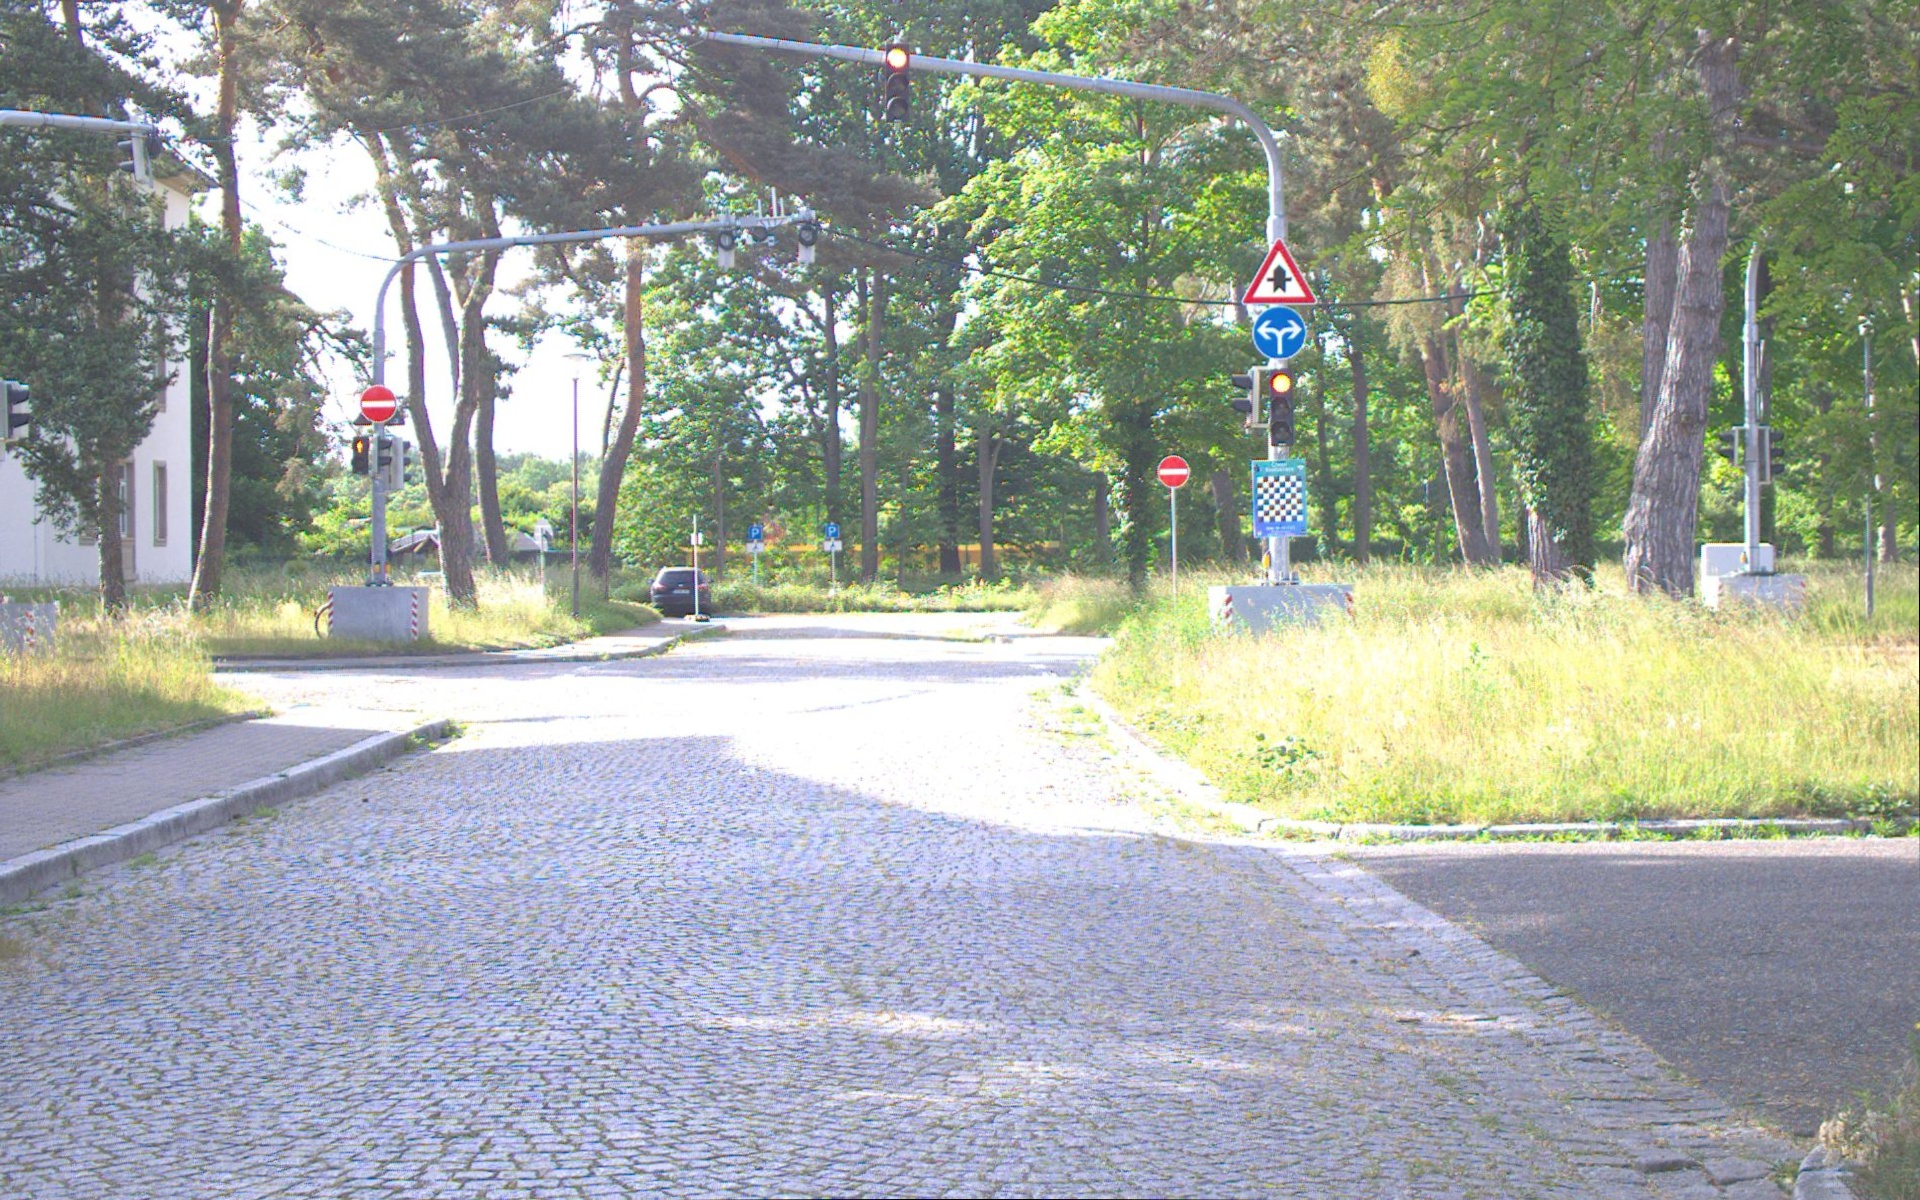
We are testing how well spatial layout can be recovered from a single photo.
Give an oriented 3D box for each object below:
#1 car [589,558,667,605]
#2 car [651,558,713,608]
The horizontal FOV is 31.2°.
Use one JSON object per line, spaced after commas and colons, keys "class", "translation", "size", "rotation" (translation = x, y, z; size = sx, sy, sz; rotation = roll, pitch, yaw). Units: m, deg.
{"class": "car", "translation": [-10.678, -0.610, 110.655], "size": [1.783, 1.485, 3.754], "rotation": [0, 1, 6]}
{"class": "car", "translation": [-8.543, -0.539, 105.861], "size": [1.844, 1.481, 4.001], "rotation": [0, 1, -4]}
